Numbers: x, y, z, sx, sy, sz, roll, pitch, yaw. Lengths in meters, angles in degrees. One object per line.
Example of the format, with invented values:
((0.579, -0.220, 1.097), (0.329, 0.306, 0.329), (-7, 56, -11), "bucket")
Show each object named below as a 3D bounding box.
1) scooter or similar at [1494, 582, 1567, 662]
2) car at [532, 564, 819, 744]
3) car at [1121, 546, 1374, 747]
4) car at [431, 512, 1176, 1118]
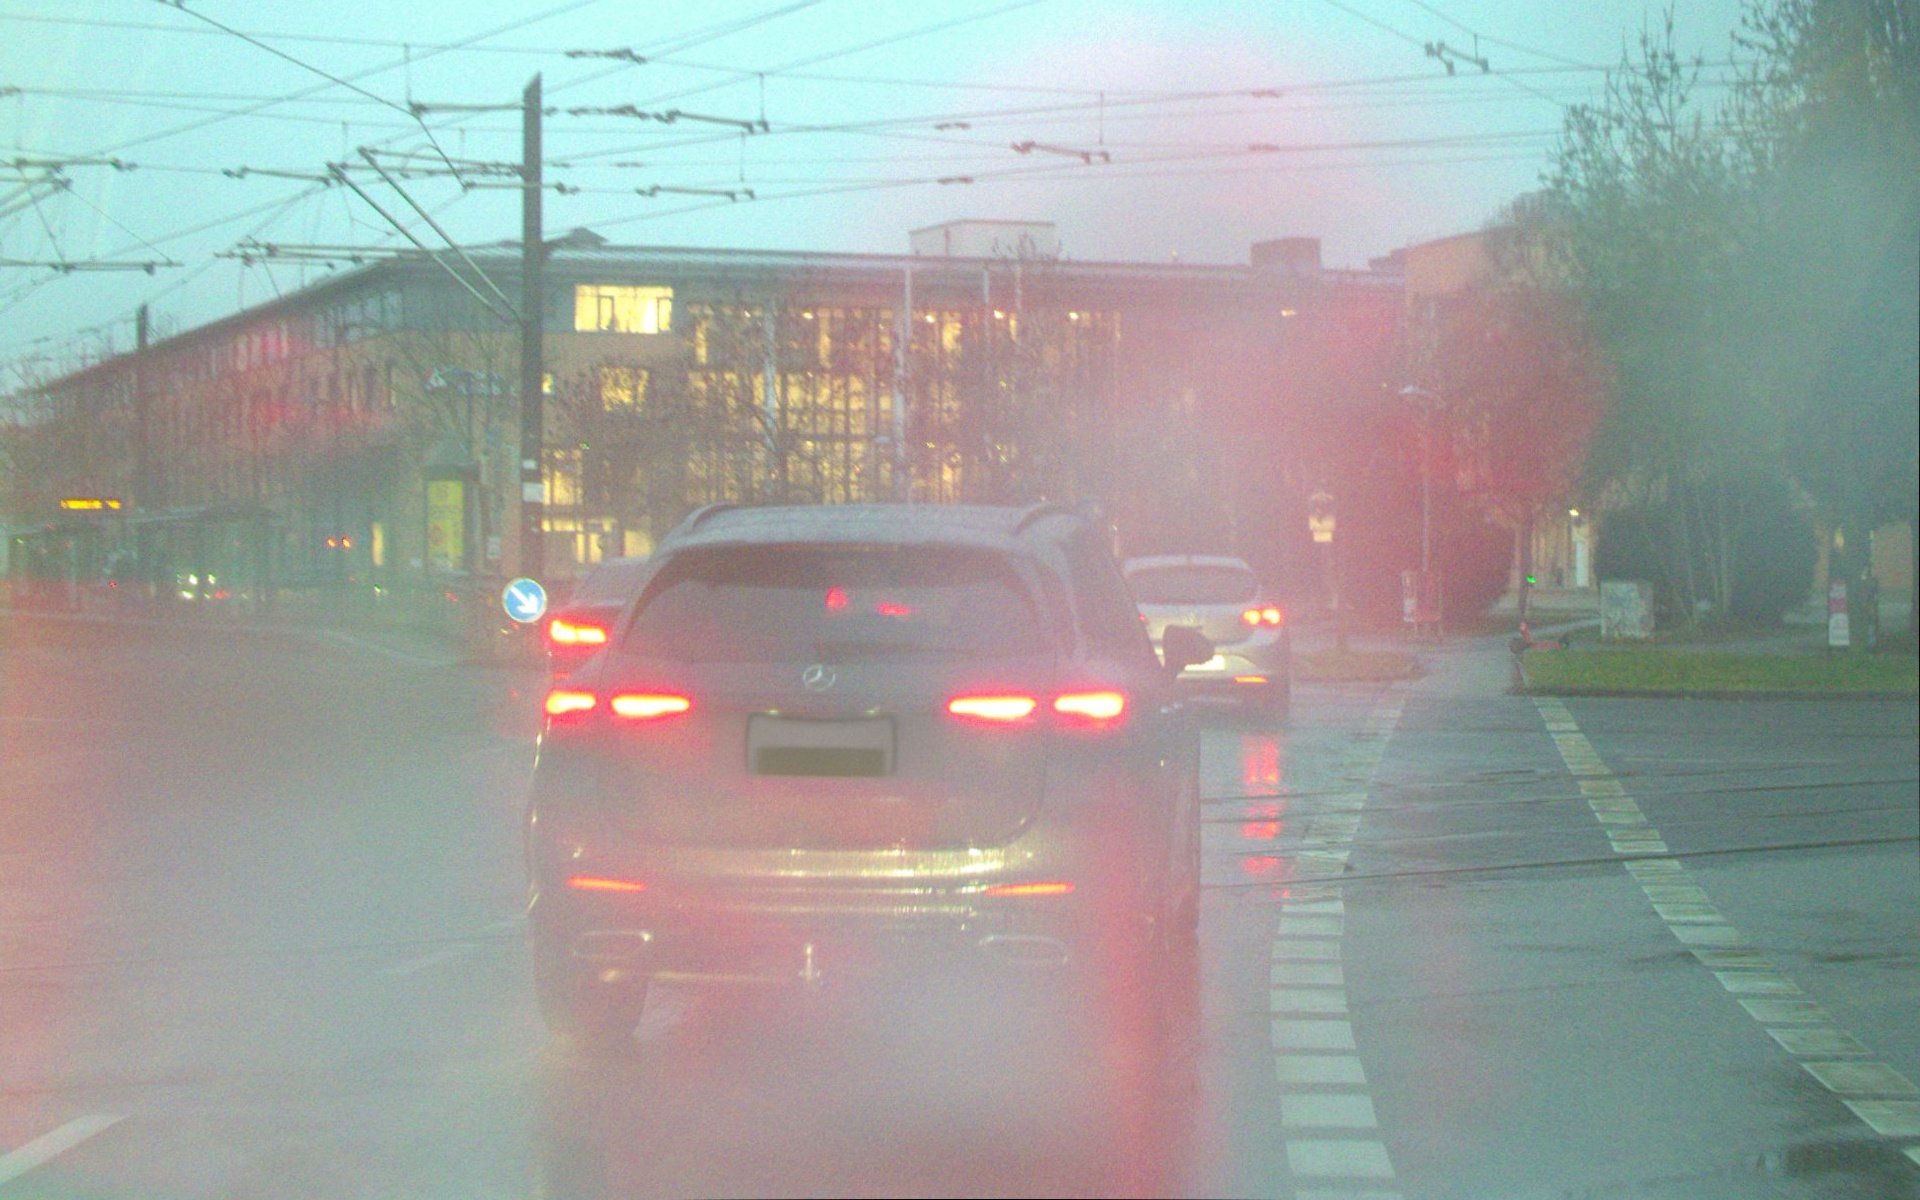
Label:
((8.955, 0.335, 53.941), (1.142, 1.227, 0.487), (-1, 1, -39), "scooter or similar")
((-2.313, 0.402, 28.953), (1.993, 1.393, 4.000), (0, 1, 1), "car")
((2.760, 0.378, 32.216), (1.994, 1.759, 3.998), (0, 1, 10), "car")
((-0.327, 0.549, 11.177), (1.991, 1.610, 4.000), (0, 1, 3), "car")
